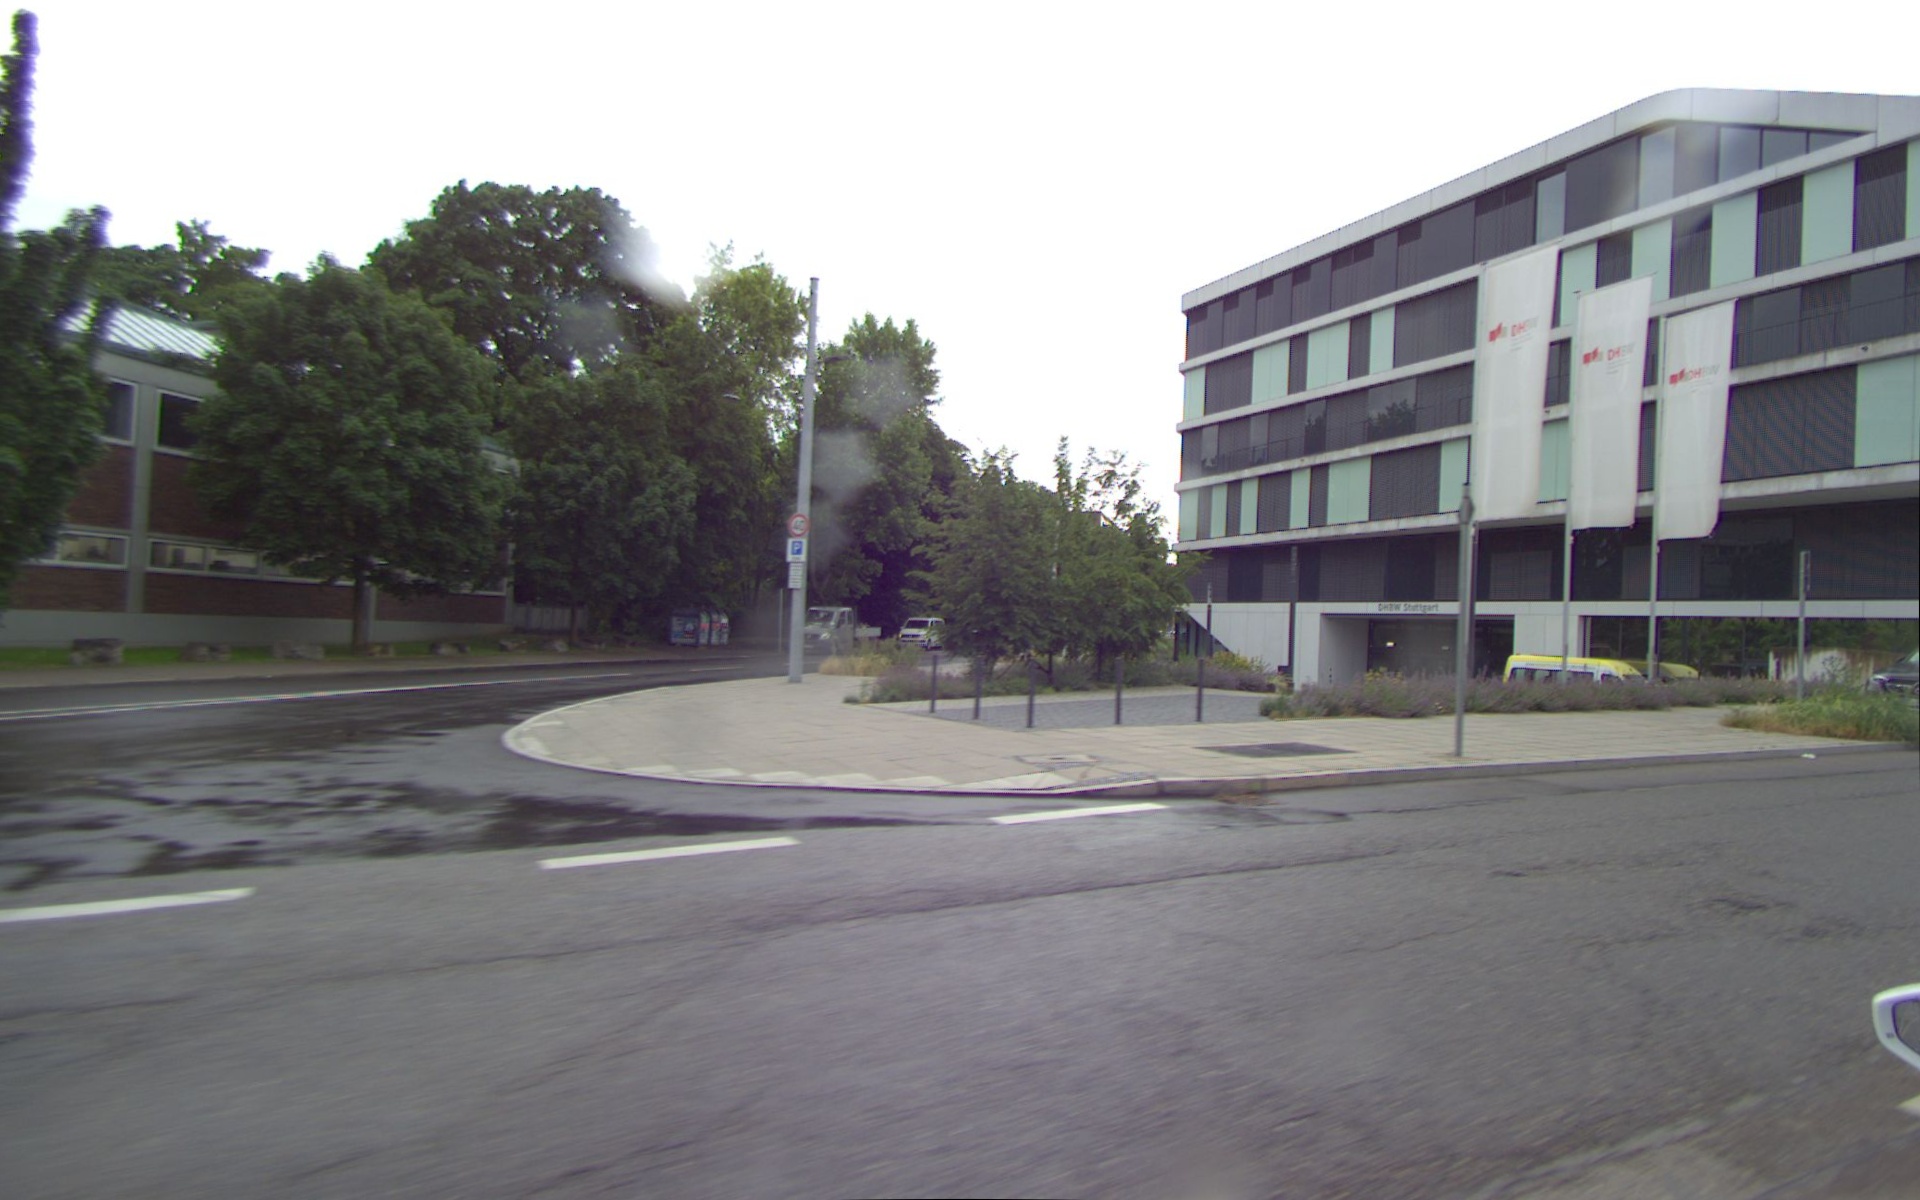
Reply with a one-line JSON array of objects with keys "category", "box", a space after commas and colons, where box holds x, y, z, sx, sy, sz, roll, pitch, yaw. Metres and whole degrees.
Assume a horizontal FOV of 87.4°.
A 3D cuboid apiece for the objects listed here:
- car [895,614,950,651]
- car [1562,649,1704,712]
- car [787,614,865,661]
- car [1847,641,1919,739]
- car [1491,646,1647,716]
[{"category": "car", "box": [-2.240, 1.977, 62.054, 2.126, 2.124, 4.840, 2, 0, 14]}, {"category": "car", "box": [26.096, 3.064, 39.116, 1.578, 2.059, 4.325, 2, 0, -27]}, {"category": "car", "box": [-6.441, 1.771, 48.828, 2.035, 2.070, 4.280, 2, 0, 19]}, {"category": "car", "box": [18.461, 1.634, 18.423, 4.434, 1.639, 1.842, 2, 0, -28]}, {"category": "car", "box": [22.515, 2.924, 37.338, 1.911, 2.203, 4.563, 2, 0, -33]}]
